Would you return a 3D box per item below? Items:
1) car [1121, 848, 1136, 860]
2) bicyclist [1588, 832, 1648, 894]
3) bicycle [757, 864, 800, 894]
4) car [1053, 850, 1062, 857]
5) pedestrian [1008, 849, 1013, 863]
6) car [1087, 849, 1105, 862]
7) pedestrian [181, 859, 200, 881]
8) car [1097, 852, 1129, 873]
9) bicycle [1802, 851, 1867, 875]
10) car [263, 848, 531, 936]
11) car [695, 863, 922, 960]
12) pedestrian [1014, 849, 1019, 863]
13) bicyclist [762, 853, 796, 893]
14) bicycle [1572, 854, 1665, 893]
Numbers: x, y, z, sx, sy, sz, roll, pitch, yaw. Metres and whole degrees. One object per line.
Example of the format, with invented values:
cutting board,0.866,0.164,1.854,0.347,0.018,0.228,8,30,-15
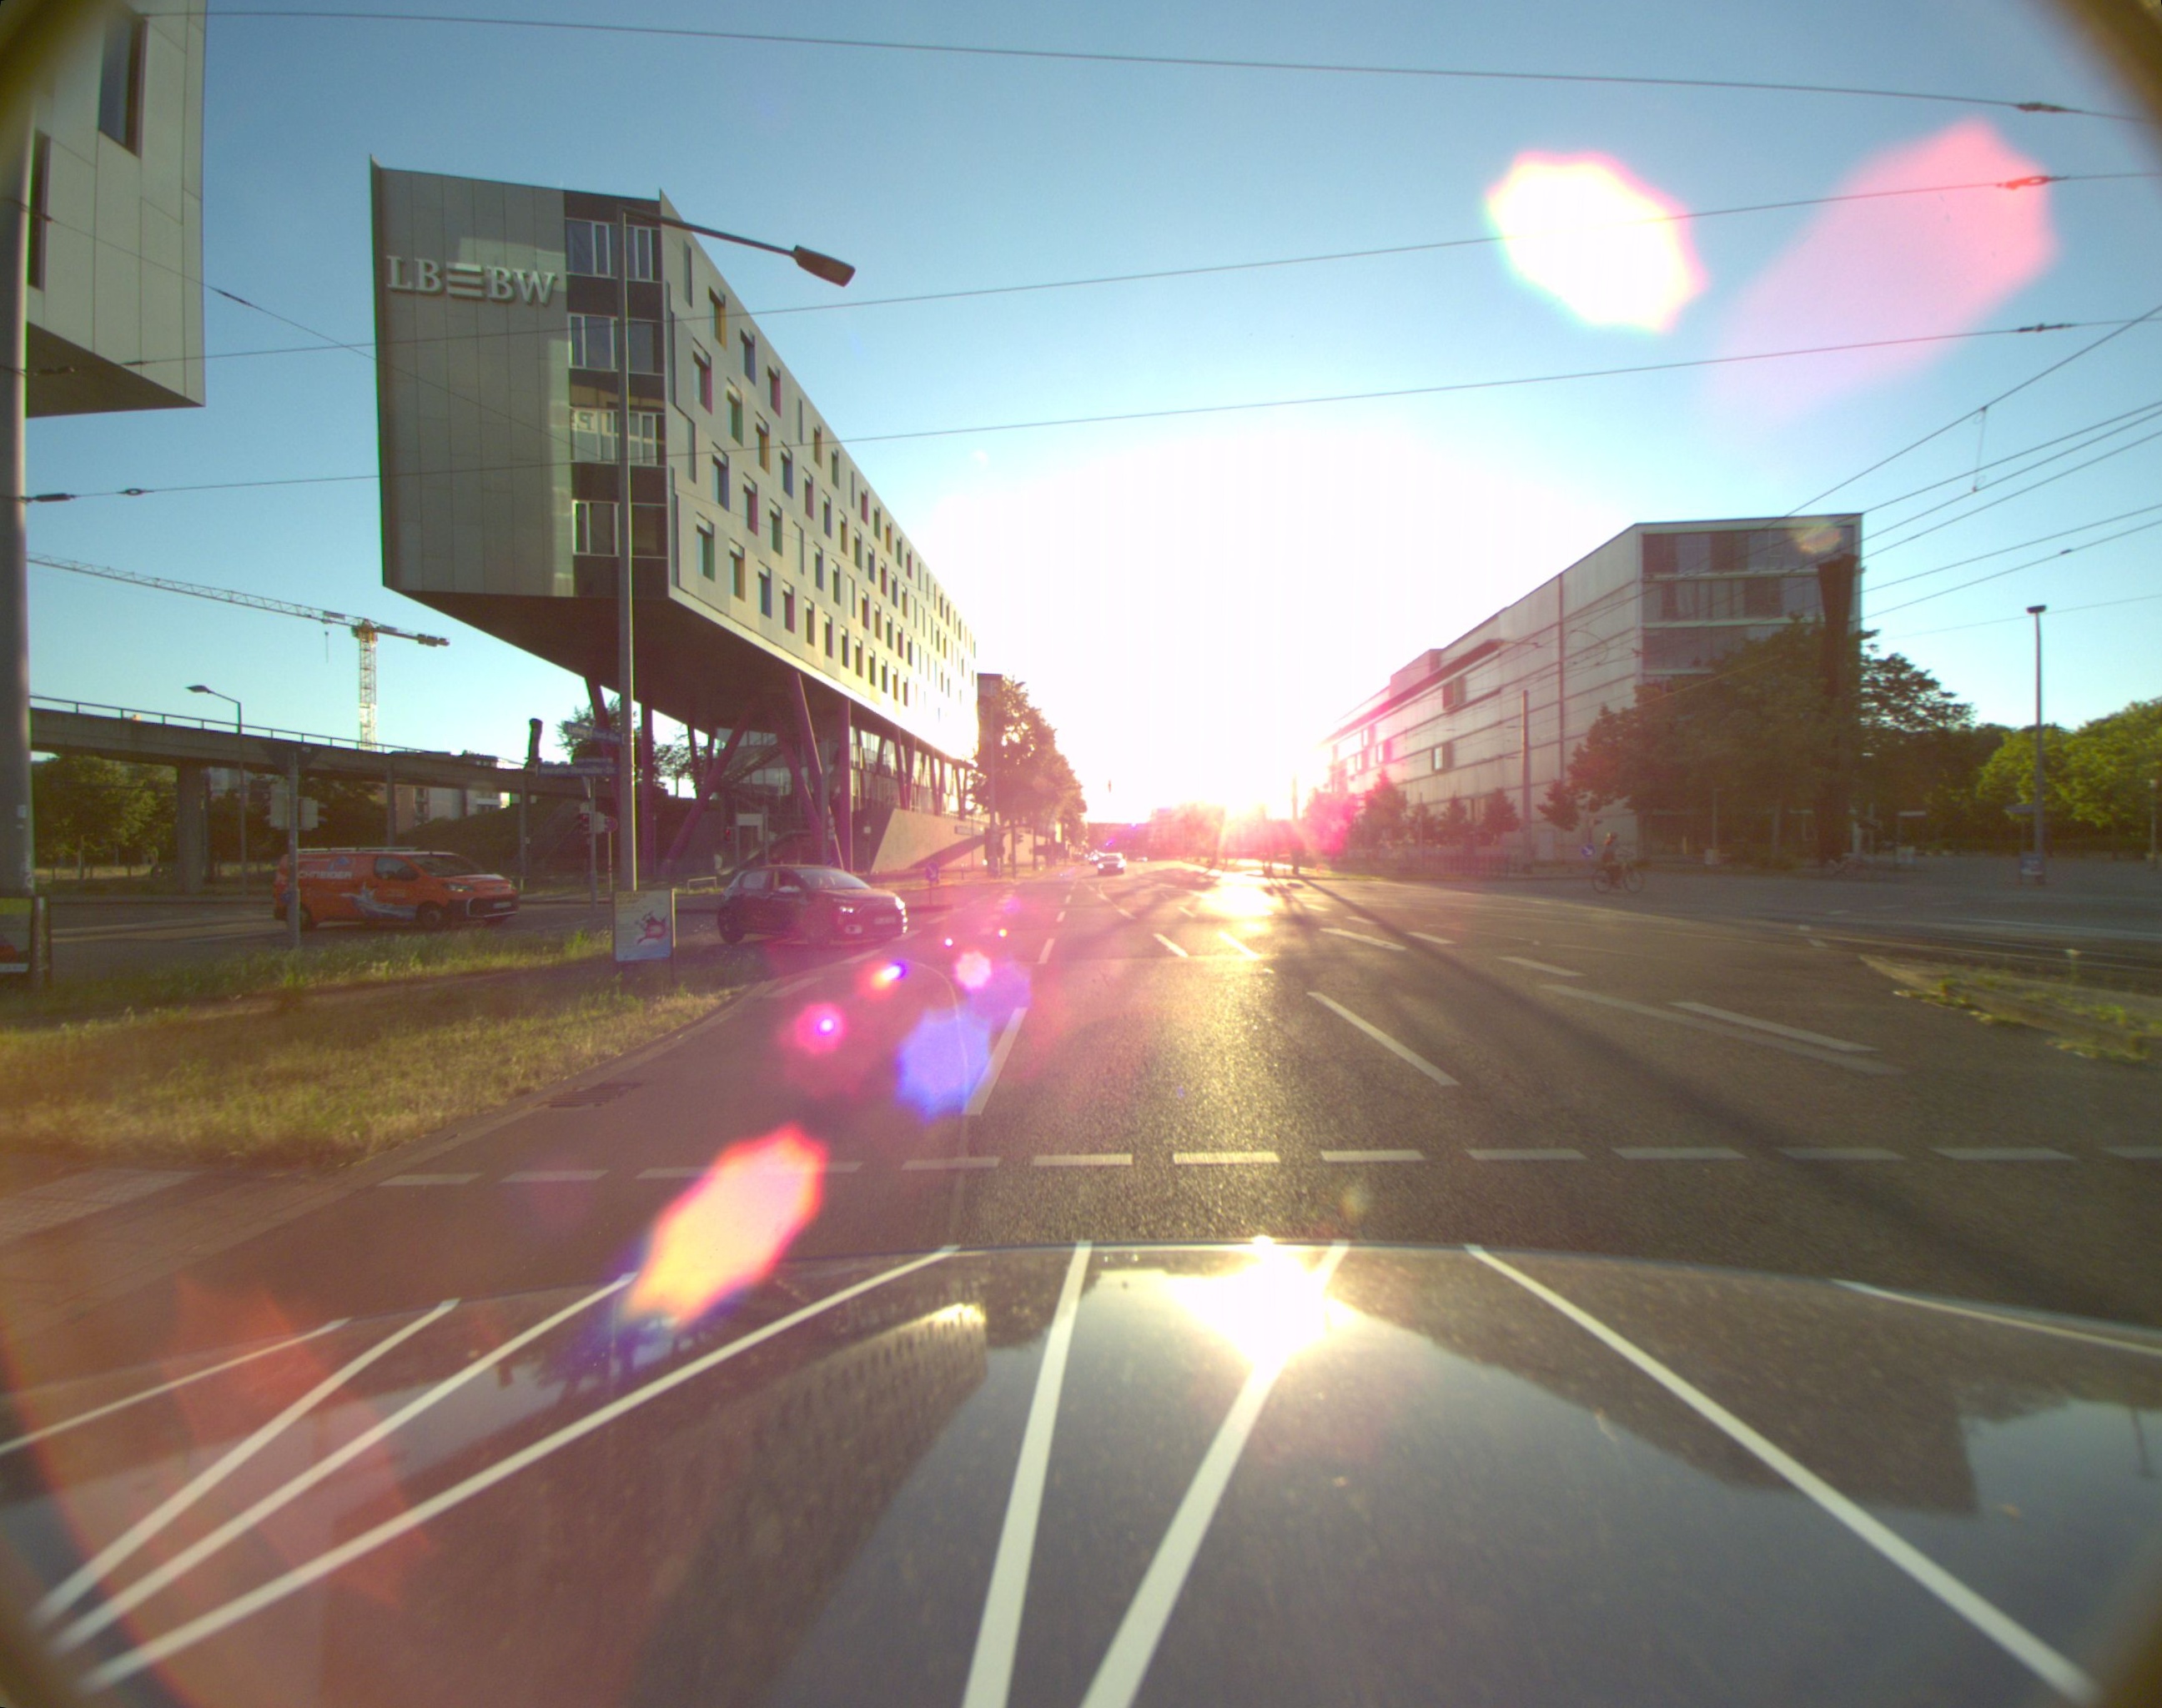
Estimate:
car,7.190,-0.030,115.173,1.998,1.696,4.000,-1,1,2
bicyclist,15.179,0.254,21.508,0.995,1.708,1.035,0,1,5
bicycle,-12.714,1.041,32.025,0.742,1.200,2.111,-1,0,7
car,-5.367,-0.130,173.448,1.718,1.490,4.001,-1,1,4
pedestrian,-10.263,0.241,110.457,0.618,2.002,0.812,0,1,4
car,1.700,0.207,86.689,1.998,1.412,4.000,-1,1,2
pedestrian,-66.886,1.188,57.089,0.416,1.602,0.781,0,1,17
car,2.230,0.559,52.396,1.998,1.412,4.001,-1,1,5
bicycle,36.575,0.416,36.878,2.390,1.129,0.701,-1,1,2
car,-16.397,0.869,18.388,4.817,1.980,1.932,-1,1,4
car,-5.103,0.955,14.119,4.060,1.543,1.764,0,1,31
pedestrian,-9.381,0.245,110.393,0.618,2.002,0.812,0,1,4
bicyclist,-12.720,0.772,32.016,0.806,1.624,1.288,-1,1,6
bicycle,15.190,0.554,21.495,2.120,1.061,0.636,-1,1,5
